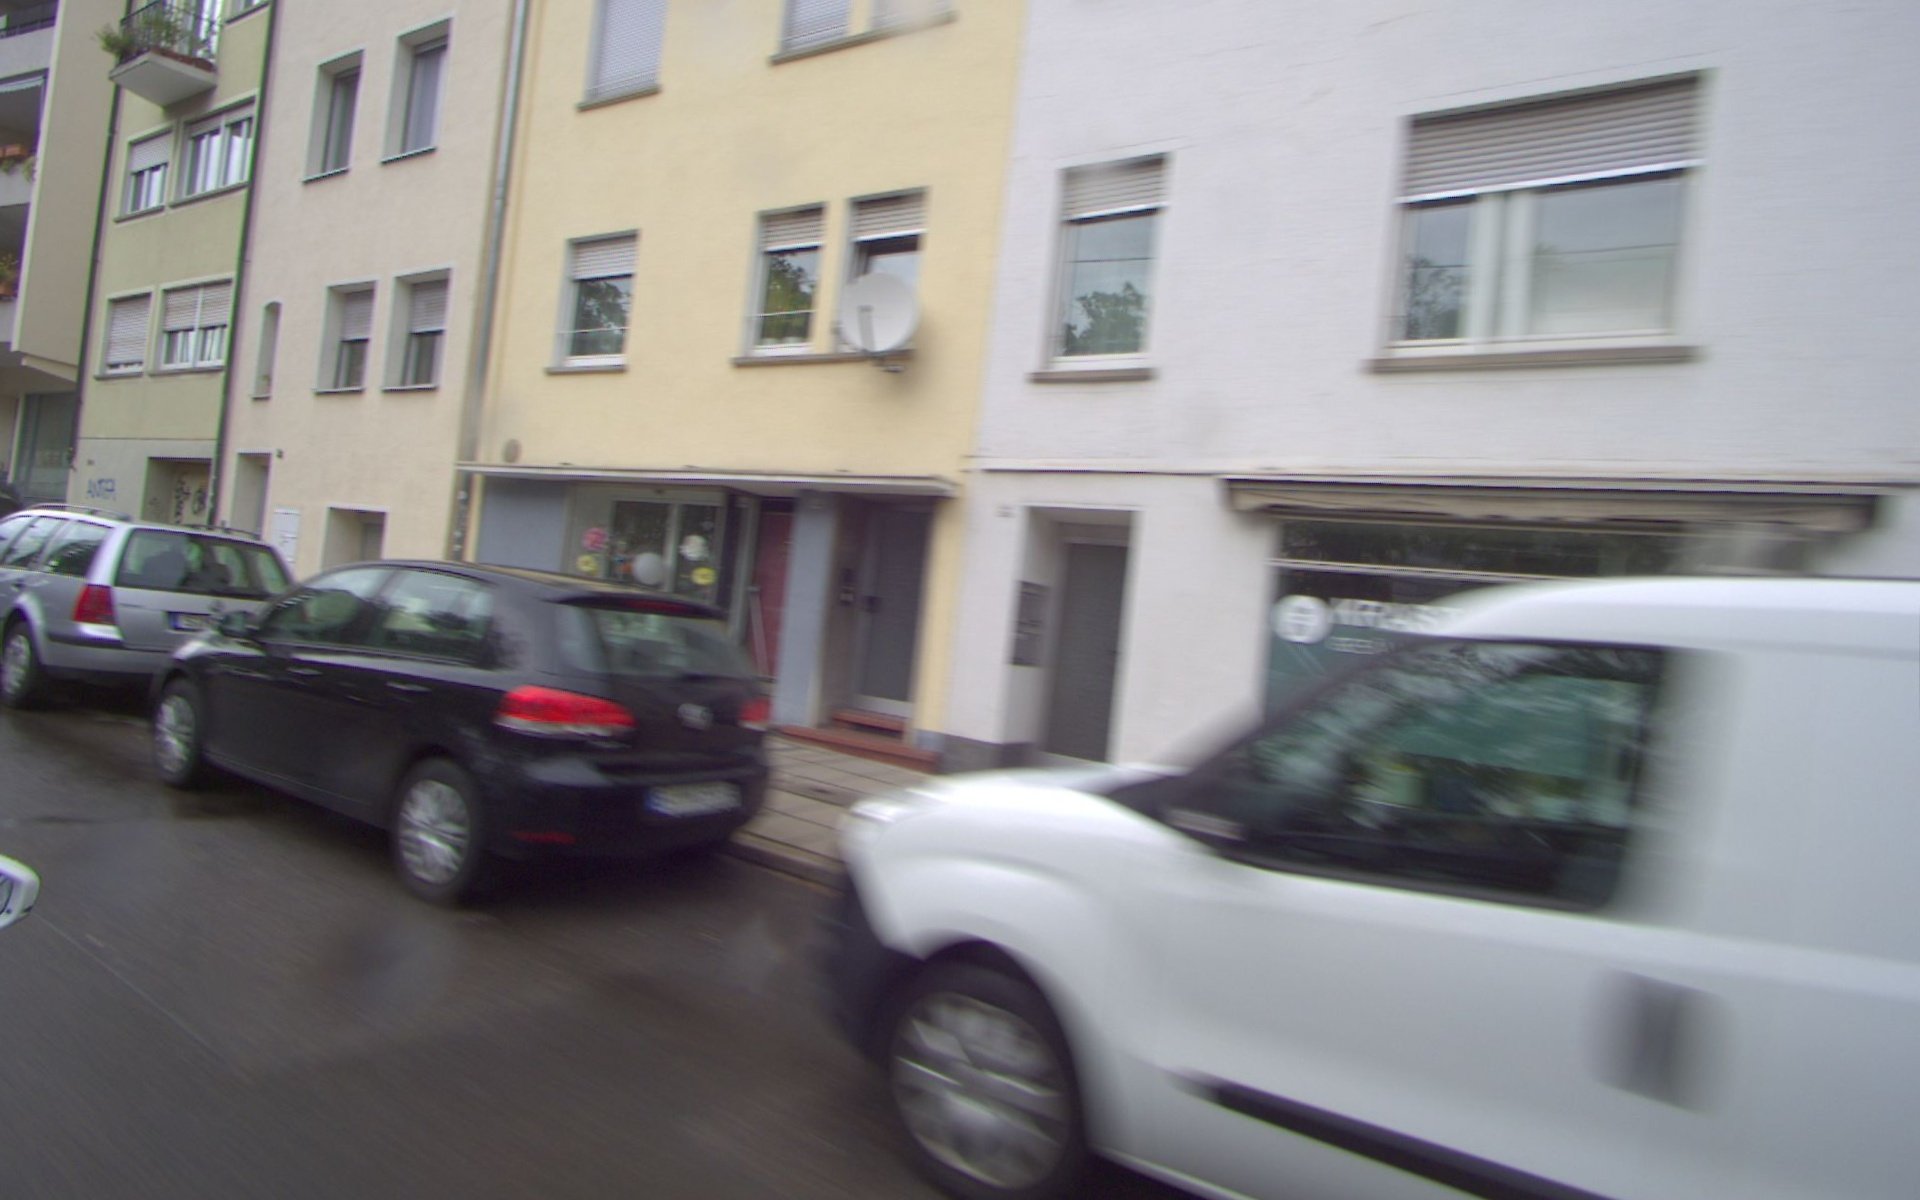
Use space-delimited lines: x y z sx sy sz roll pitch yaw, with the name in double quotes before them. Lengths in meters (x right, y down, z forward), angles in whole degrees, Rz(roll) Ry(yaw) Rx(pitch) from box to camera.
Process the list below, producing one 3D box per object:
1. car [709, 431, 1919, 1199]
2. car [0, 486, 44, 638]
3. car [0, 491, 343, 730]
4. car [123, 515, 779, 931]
"car" 1.570 0.750 2.677 4.170 1.946 1.820 7 -1 33
"car" -12.132 -0.663 11.232 4.030 1.592 1.666 7 -1 32
"car" -7.179 -0.021 8.438 4.030 1.517 1.666 7 -1 32
"car" -2.919 0.493 5.627 3.443 1.488 1.580 7 -1 31
